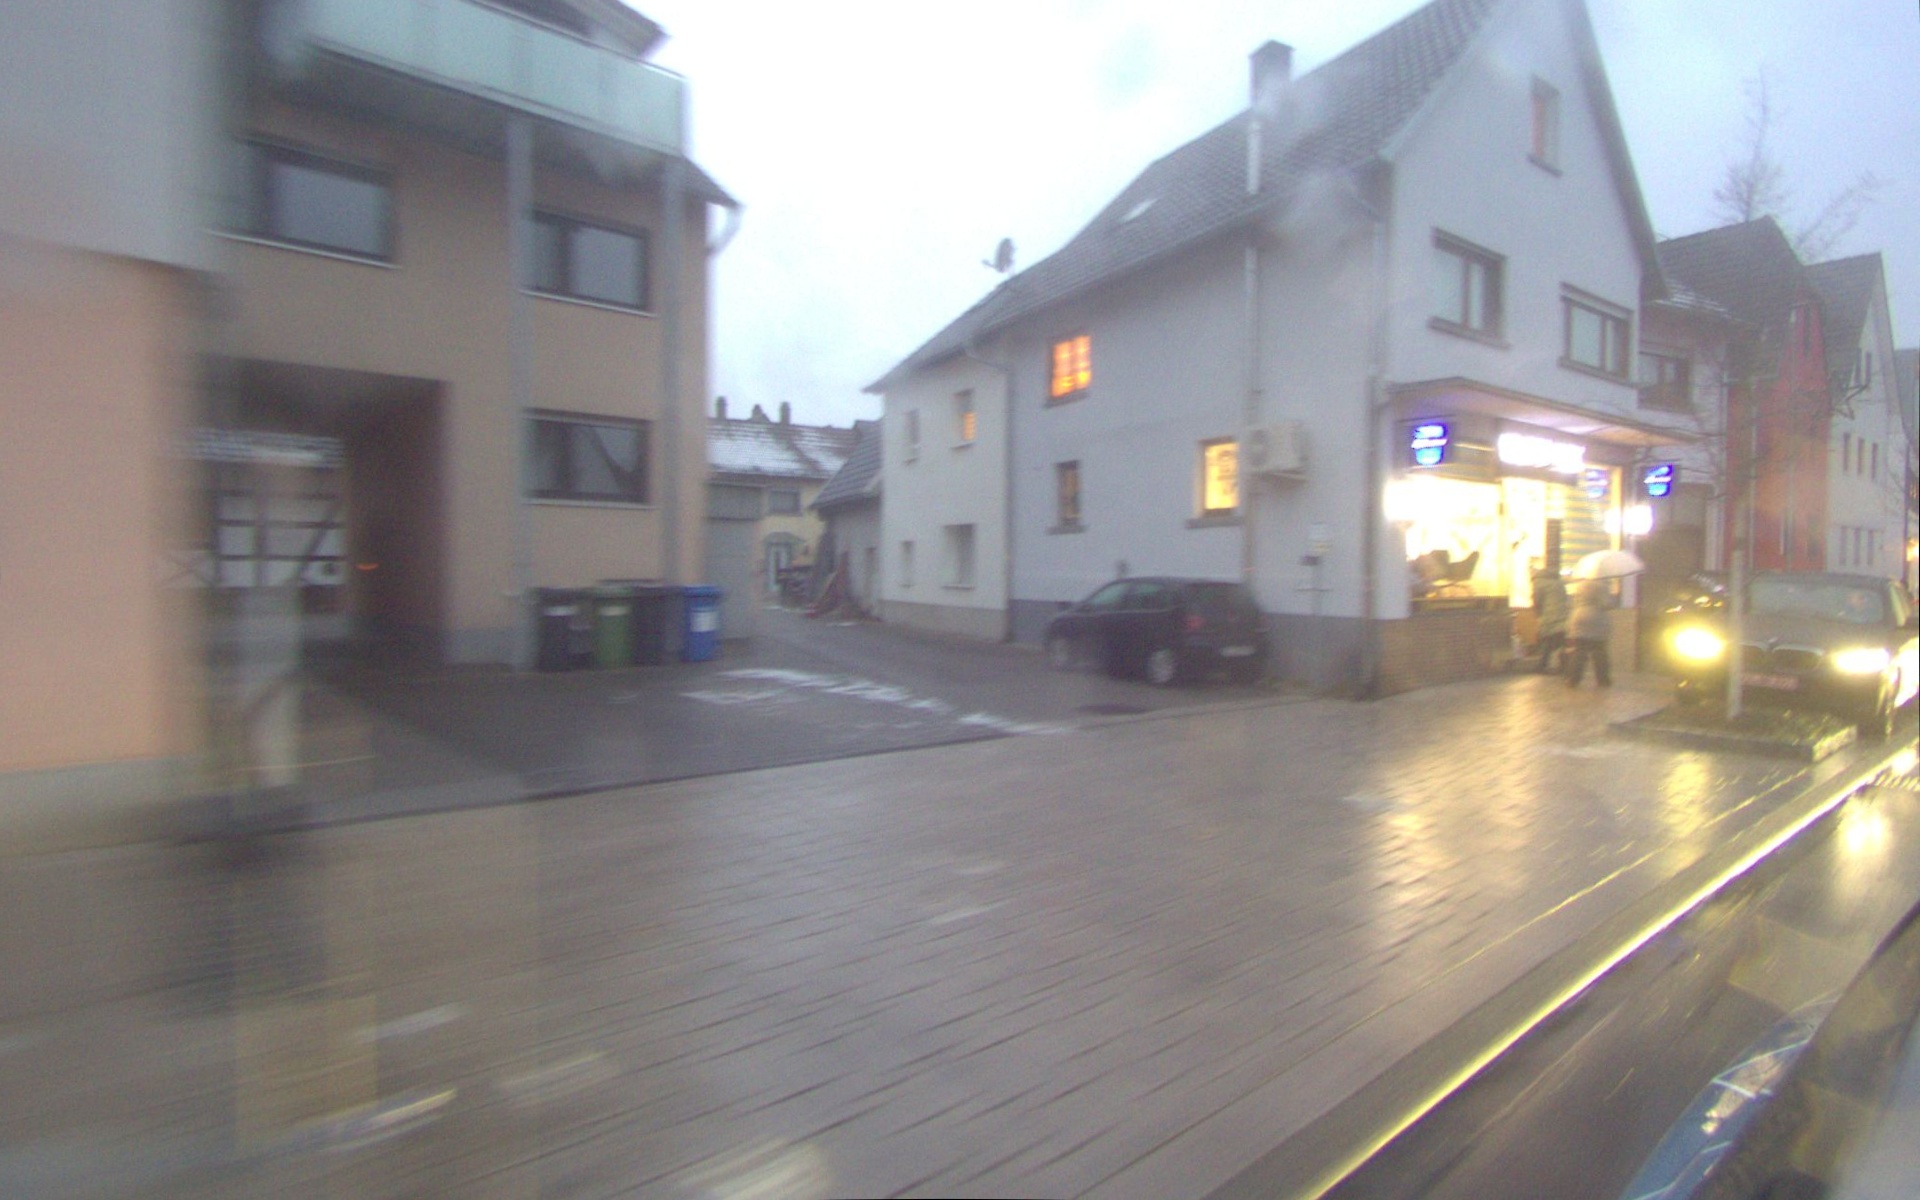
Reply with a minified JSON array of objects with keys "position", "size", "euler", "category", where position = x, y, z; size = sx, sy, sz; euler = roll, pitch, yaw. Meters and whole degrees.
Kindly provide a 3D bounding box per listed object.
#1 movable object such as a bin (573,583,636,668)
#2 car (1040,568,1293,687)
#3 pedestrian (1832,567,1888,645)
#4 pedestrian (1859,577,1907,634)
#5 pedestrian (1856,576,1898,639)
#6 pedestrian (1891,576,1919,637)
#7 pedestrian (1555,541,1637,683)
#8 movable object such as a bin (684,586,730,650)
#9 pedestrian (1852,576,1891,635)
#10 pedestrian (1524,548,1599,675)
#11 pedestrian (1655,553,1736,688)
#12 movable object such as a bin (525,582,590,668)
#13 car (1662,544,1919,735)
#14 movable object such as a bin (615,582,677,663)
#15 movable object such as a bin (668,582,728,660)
[{"position":[-4.698,0.321,13.356],"size":[0.534,1.053,0.728],"euler":[1,2,-42],"category":"movable object such as a bin"},{"position":[2.843,0.311,14.633],"size":[1.627,1.403,3.568],"euler":[1,3,-28],"category":"car"},{"position":[21.506,0.131,24.171],"size":[1.041,1.786,0.819],"euler":[1,2,-41],"category":"pedestrian"},{"position":[28.672,0.161,31.436],"size":[1.008,1.745,0.973],"euler":[0,0,-40],"category":"pedestrian"},{"position":[24.165,0.193,26.671],"size":[0.710,1.625,0.656],"euler":[1,1,-38],"category":"pedestrian"},{"position":[26.030,0.175,27.653],"size":[0.710,1.625,0.732],"euler":[1,1,-38],"category":"pedestrian"},{"position":[8.410,0.151,13.400],"size":[0.498,1.819,0.652],"euler":[2,2,-29],"category":"pedestrian"},{"position":[-3.929,0.271,15.701],"size":[0.416,0.937,0.671],"euler":[1,2,-42],"category":"movable object such as a bin"},{"position":[25.485,0.152,28.306],"size":[0.710,1.625,0.656],"euler":[1,1,-38],"category":"pedestrian"},{"position":[8.545,0.152,14.384],"size":[0.638,1.742,0.610],"euler":[2,2,-35],"category":"pedestrian"},{"position":[9.839,0.259,13.550],"size":[0.459,1.742,0.651],"euler":[2,2,-34],"category":"pedestrian"},{"position":[-5.196,0.304,13.066],"size":[0.552,1.053,0.728],"euler":[1,2,-42],"category":"movable object such as a bin"},{"position":[10.043,0.338,11.803],"size":[4.441,1.806,1.997],"euler":[0,2,-41],"category":"car"},{"position":[-4.289,0.293,13.802],"size":[0.534,1.053,0.728],"euler":[1,2,-42],"category":"movable object such as a bin"},{"position":[-3.745,0.291,14.432],"size":[0.534,1.053,0.728],"euler":[1,2,-42],"category":"movable object such as a bin"}]
